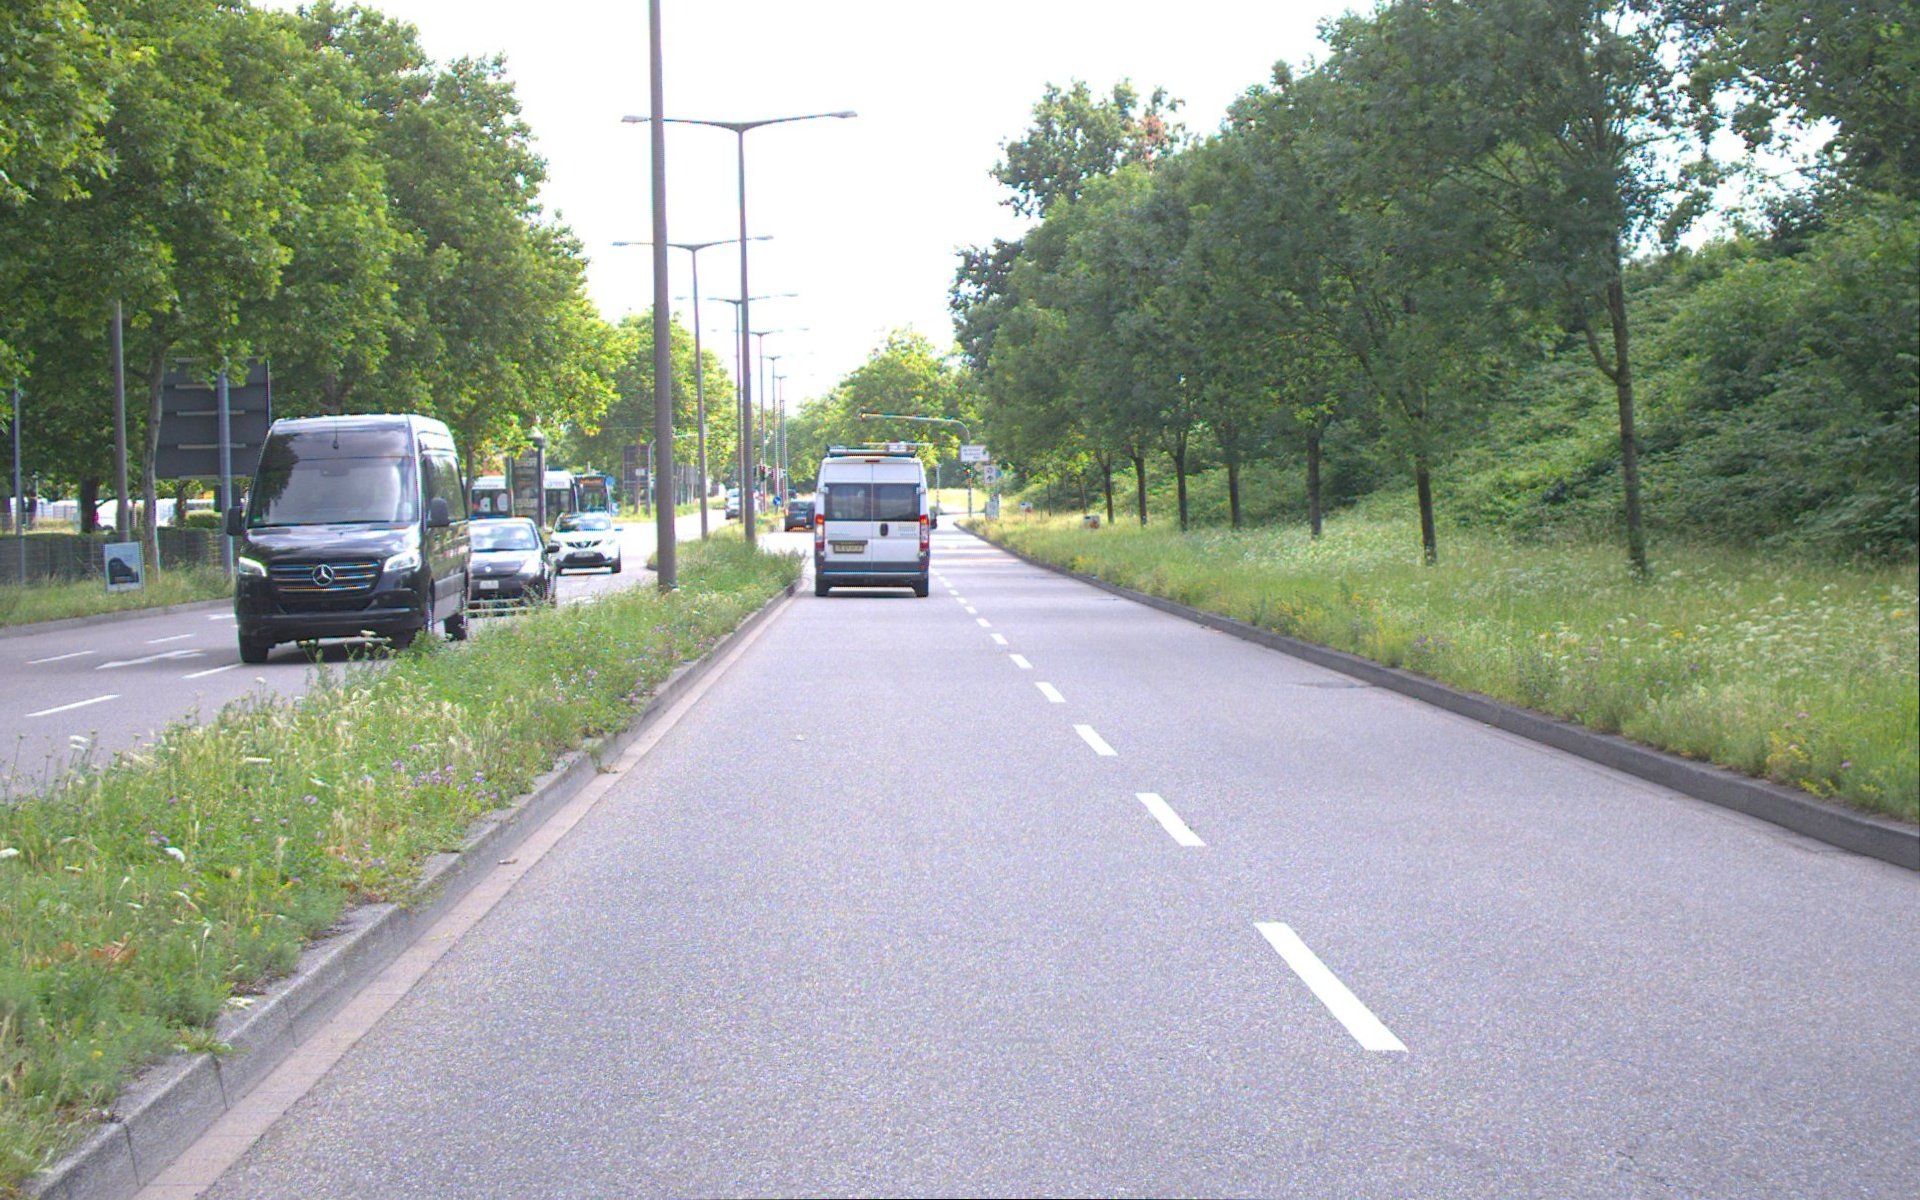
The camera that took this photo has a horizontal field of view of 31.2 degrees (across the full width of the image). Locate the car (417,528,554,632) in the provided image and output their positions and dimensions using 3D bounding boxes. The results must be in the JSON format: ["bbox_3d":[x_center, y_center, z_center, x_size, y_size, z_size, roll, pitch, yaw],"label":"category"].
[{"bbox_3d":[-7.101,-0.280,51.725,1.694,1.459,3.941,-1,0,-3],"label":"car"}]

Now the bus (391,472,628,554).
[{"bbox_3d":[-21.038,-3.993,159.772,12.323,3.263,3.113,-2,0,38],"label":"bus"}]

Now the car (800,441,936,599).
[{"bbox_3d":[-1.714,-1.463,62.198,2.197,2.717,4.932,1,2,-4],"label":"car"}]

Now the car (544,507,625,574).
[{"bbox_3d":[-9.695,-1.521,88.980,1.813,1.634,4.352,-2,0,-3],"label":"car"}]

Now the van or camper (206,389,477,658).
[{"bbox_3d":[-6.692,-0.785,37.943,2.104,2.651,6.718,-2,0,-3],"label":"van or camper"}]
